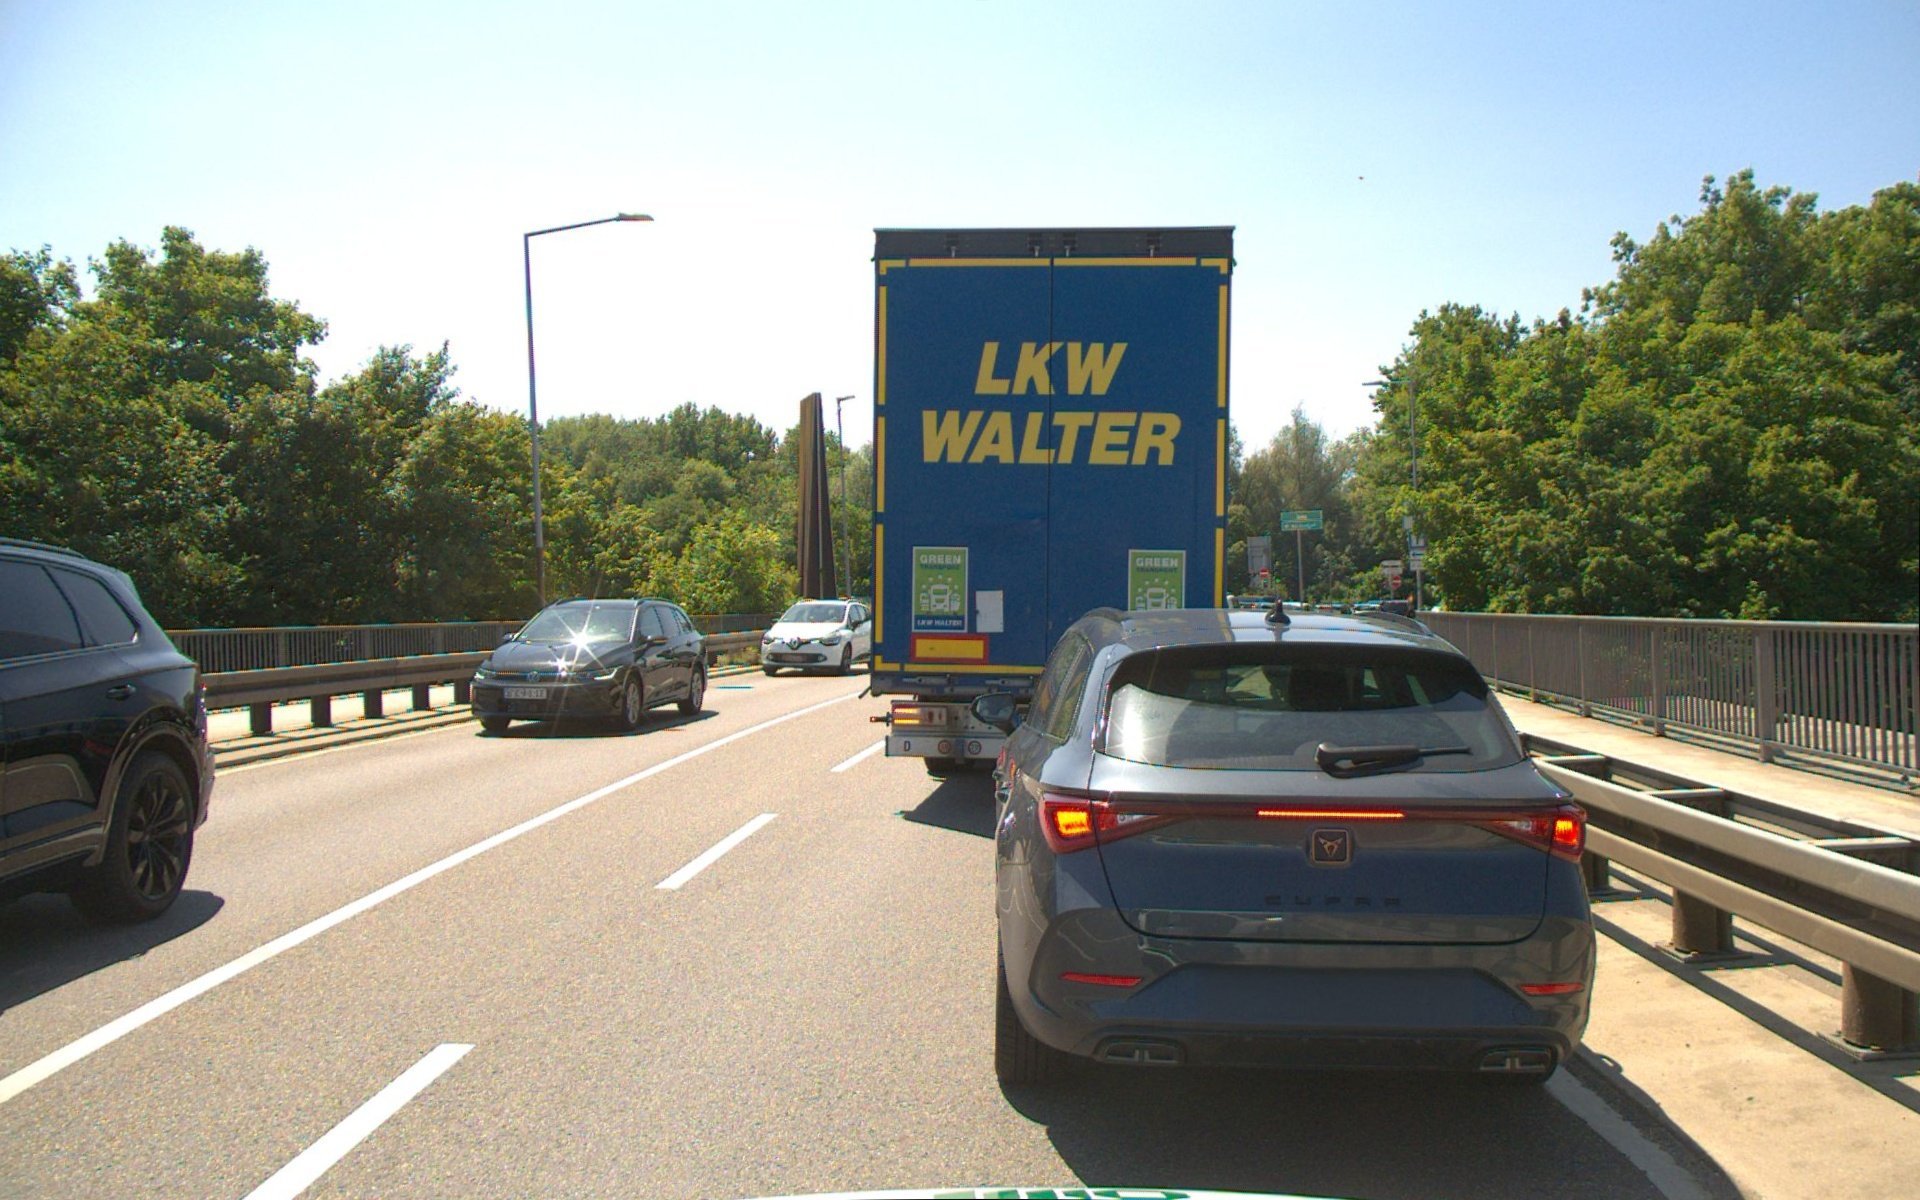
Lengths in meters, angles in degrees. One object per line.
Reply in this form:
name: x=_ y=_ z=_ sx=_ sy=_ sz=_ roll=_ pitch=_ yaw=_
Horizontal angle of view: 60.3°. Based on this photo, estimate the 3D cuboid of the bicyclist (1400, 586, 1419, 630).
bicyclist: x=17.494 y=0.306 z=64.404 sx=0.565 sy=1.712 sz=0.730 roll=-3 pitch=0 yaw=9

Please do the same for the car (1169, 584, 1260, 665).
car: x=6.363 y=0.557 z=41.068 sx=1.684 sy=1.876 sz=4.002 roll=0 pitch=1 yaw=17

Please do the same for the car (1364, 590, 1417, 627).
car: x=21.005 y=0.424 z=80.658 sx=1.653 sy=1.791 sz=3.995 roll=0 pitch=-1 yaw=28

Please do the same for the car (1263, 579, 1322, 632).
car: x=12.425 y=0.180 z=61.671 sx=1.685 sy=1.876 sz=4.002 roll=0 pitch=0 yaw=18

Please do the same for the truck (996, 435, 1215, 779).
truck: x=2.304 y=0.063 z=25.066 sx=2.843 sy=4.496 sz=6.560 roll=0 pitch=0 yaw=7

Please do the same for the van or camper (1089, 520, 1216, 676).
van or camper: x=4.026 y=-0.057 z=33.659 sx=2.108 sy=2.865 sz=6.393 roll=0 pitch=0 yaw=11

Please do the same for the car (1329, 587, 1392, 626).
car: x=18.130 y=0.300 z=74.687 sx=1.954 sy=1.603 sz=3.996 roll=2 pitch=-1 yaw=26

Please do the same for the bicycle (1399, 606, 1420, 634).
bicycle: x=17.516 y=0.763 z=64.420 sx=0.569 sy=1.053 sz=1.486 roll=-3 pitch=0 yaw=9

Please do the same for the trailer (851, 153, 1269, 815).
trailer: x=1.408 y=-0.828 z=17.575 sx=2.843 sy=4.496 sz=12.442 roll=0 pitch=0 yaw=7

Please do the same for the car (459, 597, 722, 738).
car: x=-4.281 y=0.717 z=19.922 sx=1.674 sy=1.494 sz=4.463 roll=0 pitch=0 yaw=7

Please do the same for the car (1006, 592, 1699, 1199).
car: x=0.991 y=0.719 z=5.932 sx=1.642 sy=1.481 sz=3.959 roll=0 pitch=0 yaw=1

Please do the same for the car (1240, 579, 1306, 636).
car: x=10.641 y=0.224 z=56.074 sx=1.685 sy=1.876 sz=4.002 roll=0 pitch=0 yaw=18

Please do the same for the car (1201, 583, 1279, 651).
car: x=8.069 y=0.451 z=47.412 sx=1.684 sy=1.834 sz=4.002 roll=0 pitch=0 yaw=17

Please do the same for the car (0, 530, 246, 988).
car: x=-4.533 y=0.599 z=5.928 sx=1.926 sy=1.702 sz=4.613 roll=0 pitch=0 yaw=0

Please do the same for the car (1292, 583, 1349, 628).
car: x=14.933 y=0.246 z=68.360 sx=1.651 sy=1.791 sz=3.999 roll=0 pitch=-1 yaw=22

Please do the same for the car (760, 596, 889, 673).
car: x=-2.686 y=0.662 z=33.684 sx=1.565 sy=1.474 sz=4.059 roll=0 pitch=0 yaw=11
